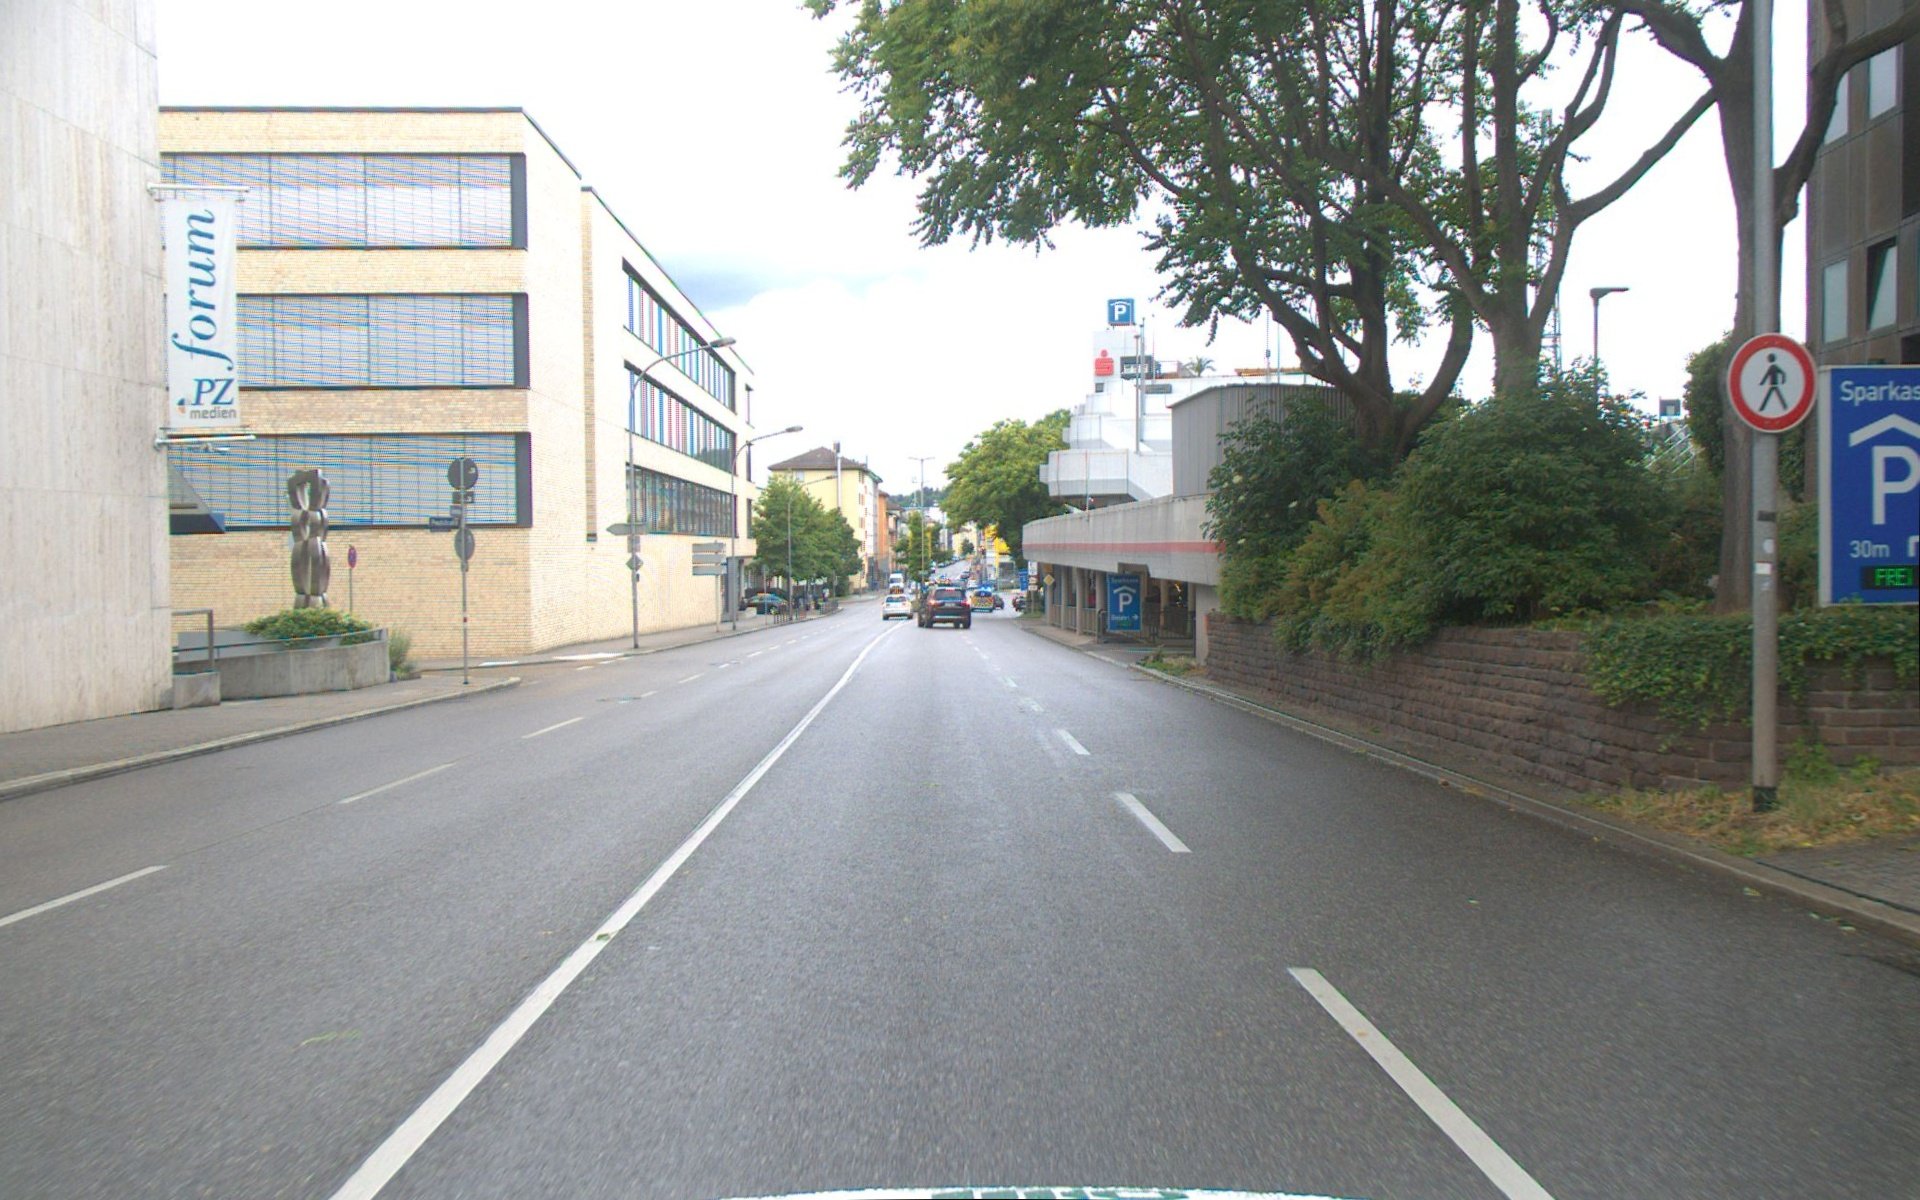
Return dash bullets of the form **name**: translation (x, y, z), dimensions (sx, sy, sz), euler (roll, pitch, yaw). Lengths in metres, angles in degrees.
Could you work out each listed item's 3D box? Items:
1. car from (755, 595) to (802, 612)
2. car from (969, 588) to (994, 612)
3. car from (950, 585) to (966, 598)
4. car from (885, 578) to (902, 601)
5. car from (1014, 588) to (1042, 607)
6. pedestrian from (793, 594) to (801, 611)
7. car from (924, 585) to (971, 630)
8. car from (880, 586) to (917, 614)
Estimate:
- **car**: translation (-14.142, 0.287, 129.006), dimensions (3.585, 1.256, 1.439), euler (0, 0, -7)
- **car**: translation (1.830, -0.034, 142.692), dimensions (2.128, 2.039, 4.000), euler (0, 0, 0)
- **car**: translation (-0.287, -1.205, 225.866), dimensions (1.954, 1.709, 3.998), euler (-1, 2, -4)
- **car**: translation (-9.356, -1.487, 231.257), dimensions (2.140, 3.152, 4.926), euler (-1, 0, -5)
- **car**: translation (6.254, -0.213, 151.589), dimensions (1.951, 1.709, 4.004), euler (0, 0, 12)
- **pedestrian**: translation (-12.610, 0.179, 127.967), dimensions (0.444, 1.301, 0.454), euler (-1, 0, 10)
- **car**: translation (-0.532, 0.312, 74.395), dimensions (2.049, 1.944, 4.099), euler (0, 0, 0)
- **car**: translation (-3.775, -0.018, 100.990), dimensions (1.955, 1.709, 3.995), euler (0, 0, -6)
